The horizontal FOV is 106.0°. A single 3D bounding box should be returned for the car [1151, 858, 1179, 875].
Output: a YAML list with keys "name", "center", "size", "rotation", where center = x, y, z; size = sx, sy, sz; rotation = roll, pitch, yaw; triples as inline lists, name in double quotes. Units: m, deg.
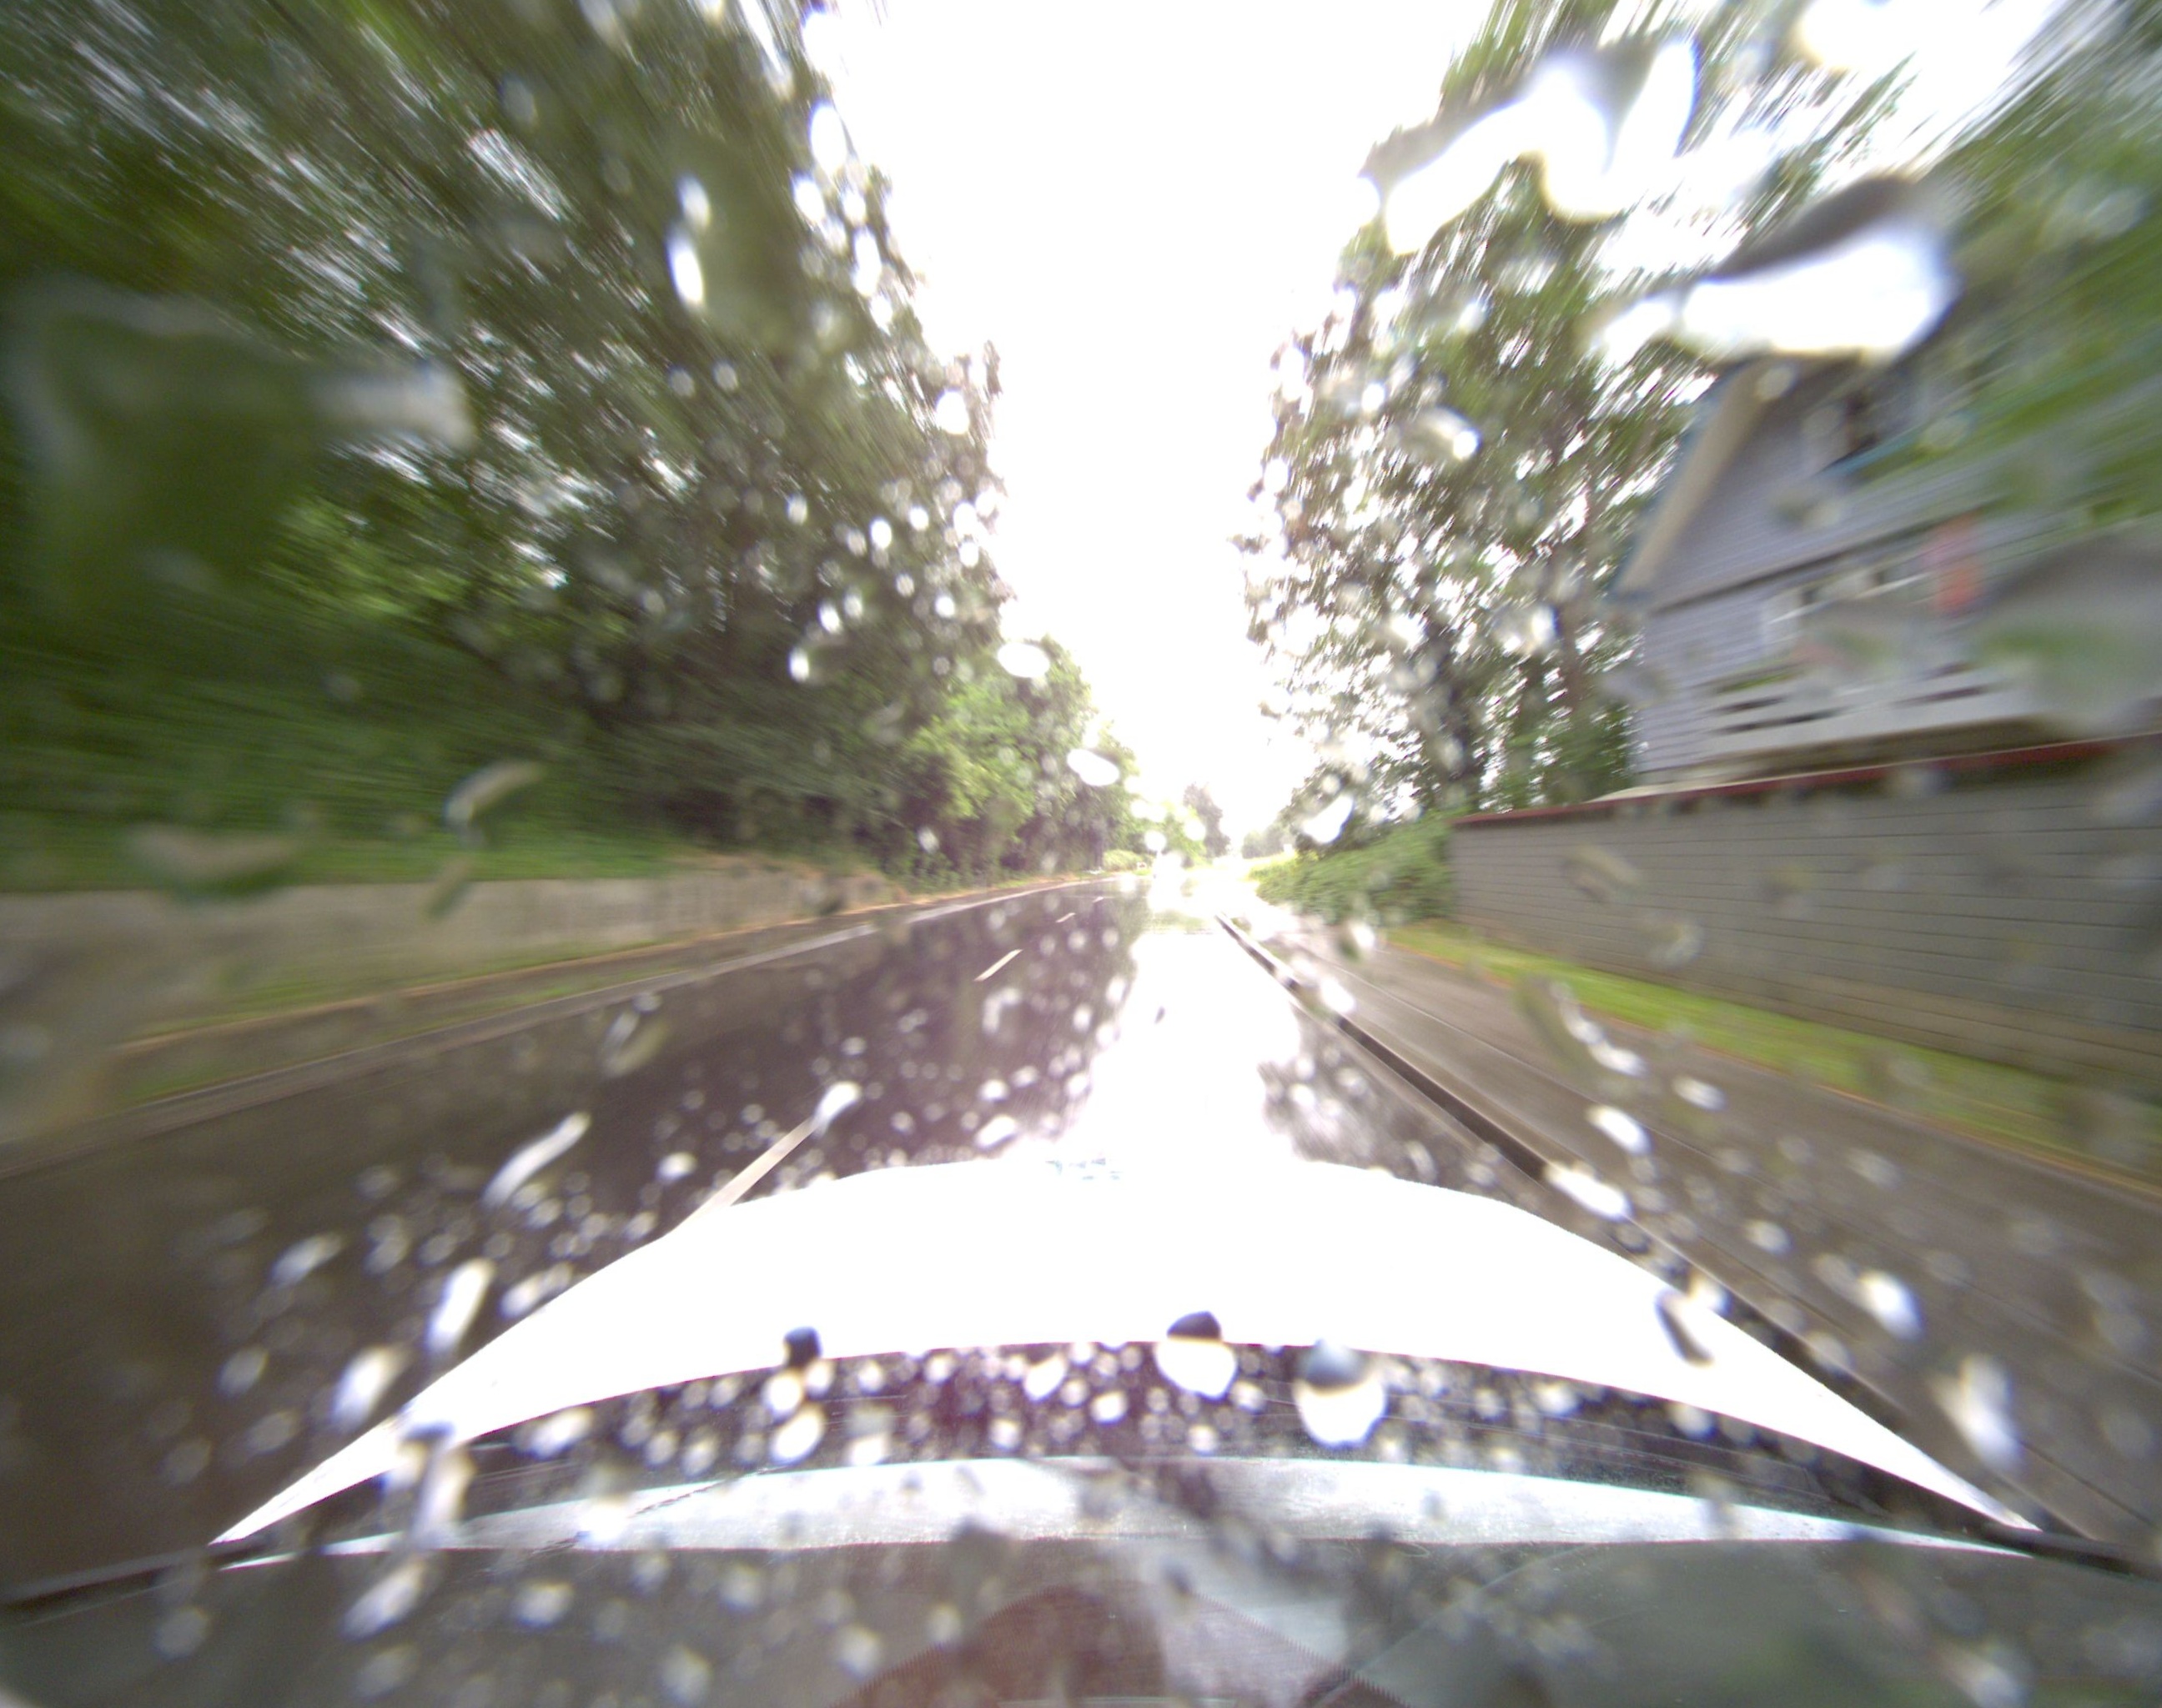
- name: "car"
  center: [7.236, 1.060, 69.550]
  size: [1.774, 1.419, 4.650]
  rotation: [-1, 0, 13]
